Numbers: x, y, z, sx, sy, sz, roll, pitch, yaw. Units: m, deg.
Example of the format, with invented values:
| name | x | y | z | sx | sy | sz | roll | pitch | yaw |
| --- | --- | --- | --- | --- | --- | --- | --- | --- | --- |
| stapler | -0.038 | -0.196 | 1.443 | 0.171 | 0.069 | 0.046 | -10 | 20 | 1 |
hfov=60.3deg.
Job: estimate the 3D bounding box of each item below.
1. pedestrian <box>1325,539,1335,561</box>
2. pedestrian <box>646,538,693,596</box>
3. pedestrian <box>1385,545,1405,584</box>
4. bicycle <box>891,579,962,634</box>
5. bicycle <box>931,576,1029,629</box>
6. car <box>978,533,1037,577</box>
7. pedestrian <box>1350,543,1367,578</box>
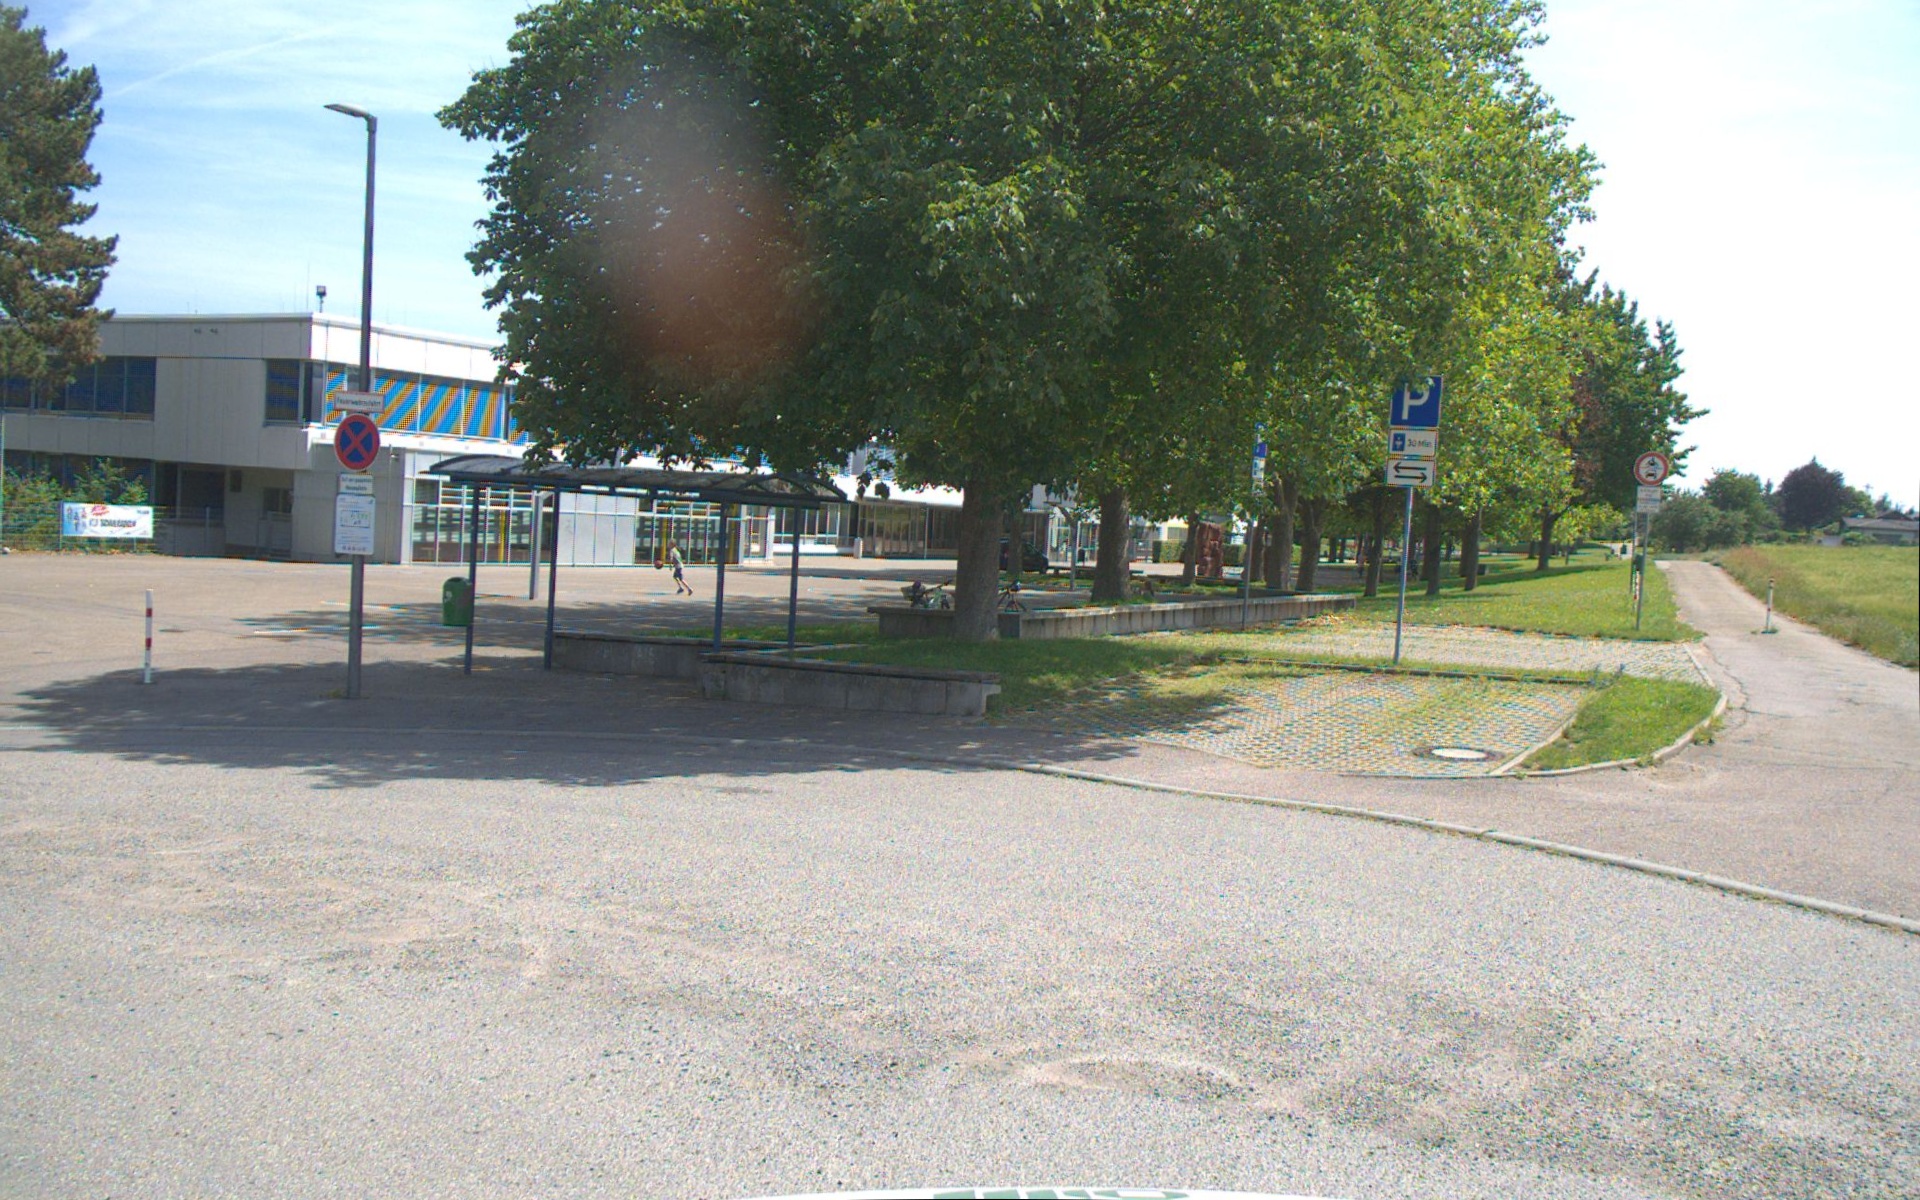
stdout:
| name | x | y | z | sx | sy | sz | roll | pitch | yaw |
| --- | --- | --- | --- | --- | --- | --- | --- | --- | --- |
| pedestrian | 33.903 | -4.563 | 151.508 | 0.708 | 2.049 | 0.682 | -1 | 0 | 24 |
| pedestrian | -7.516 | -0.861 | 42.878 | 1.045 | 1.448 | 0.919 | 2 | 1 | -4 |
| pedestrian | 23.112 | -1.904 | 87.880 | 0.670 | 2.048 | 0.801 | 2 | 1 | -12 |
| bicycle | -0.672 | 0.116 | 33.811 | 0.583 | 1.057 | 1.890 | 2 | 2 | 28 |
| bicycle | 0.437 | 0.046 | 35.775 | 2.018 | 1.057 | 0.572 | 2 | 1 | 13 |
| car | 2.168 | -2.008 | 74.488 | 1.656 | 1.866 | 3.412 | 3 | 2 | 19 |
| pedestrian | 23.270 | -2.304 | 96.552 | 0.815 | 2.048 | 0.692 | 3 | 1 | 5 |
